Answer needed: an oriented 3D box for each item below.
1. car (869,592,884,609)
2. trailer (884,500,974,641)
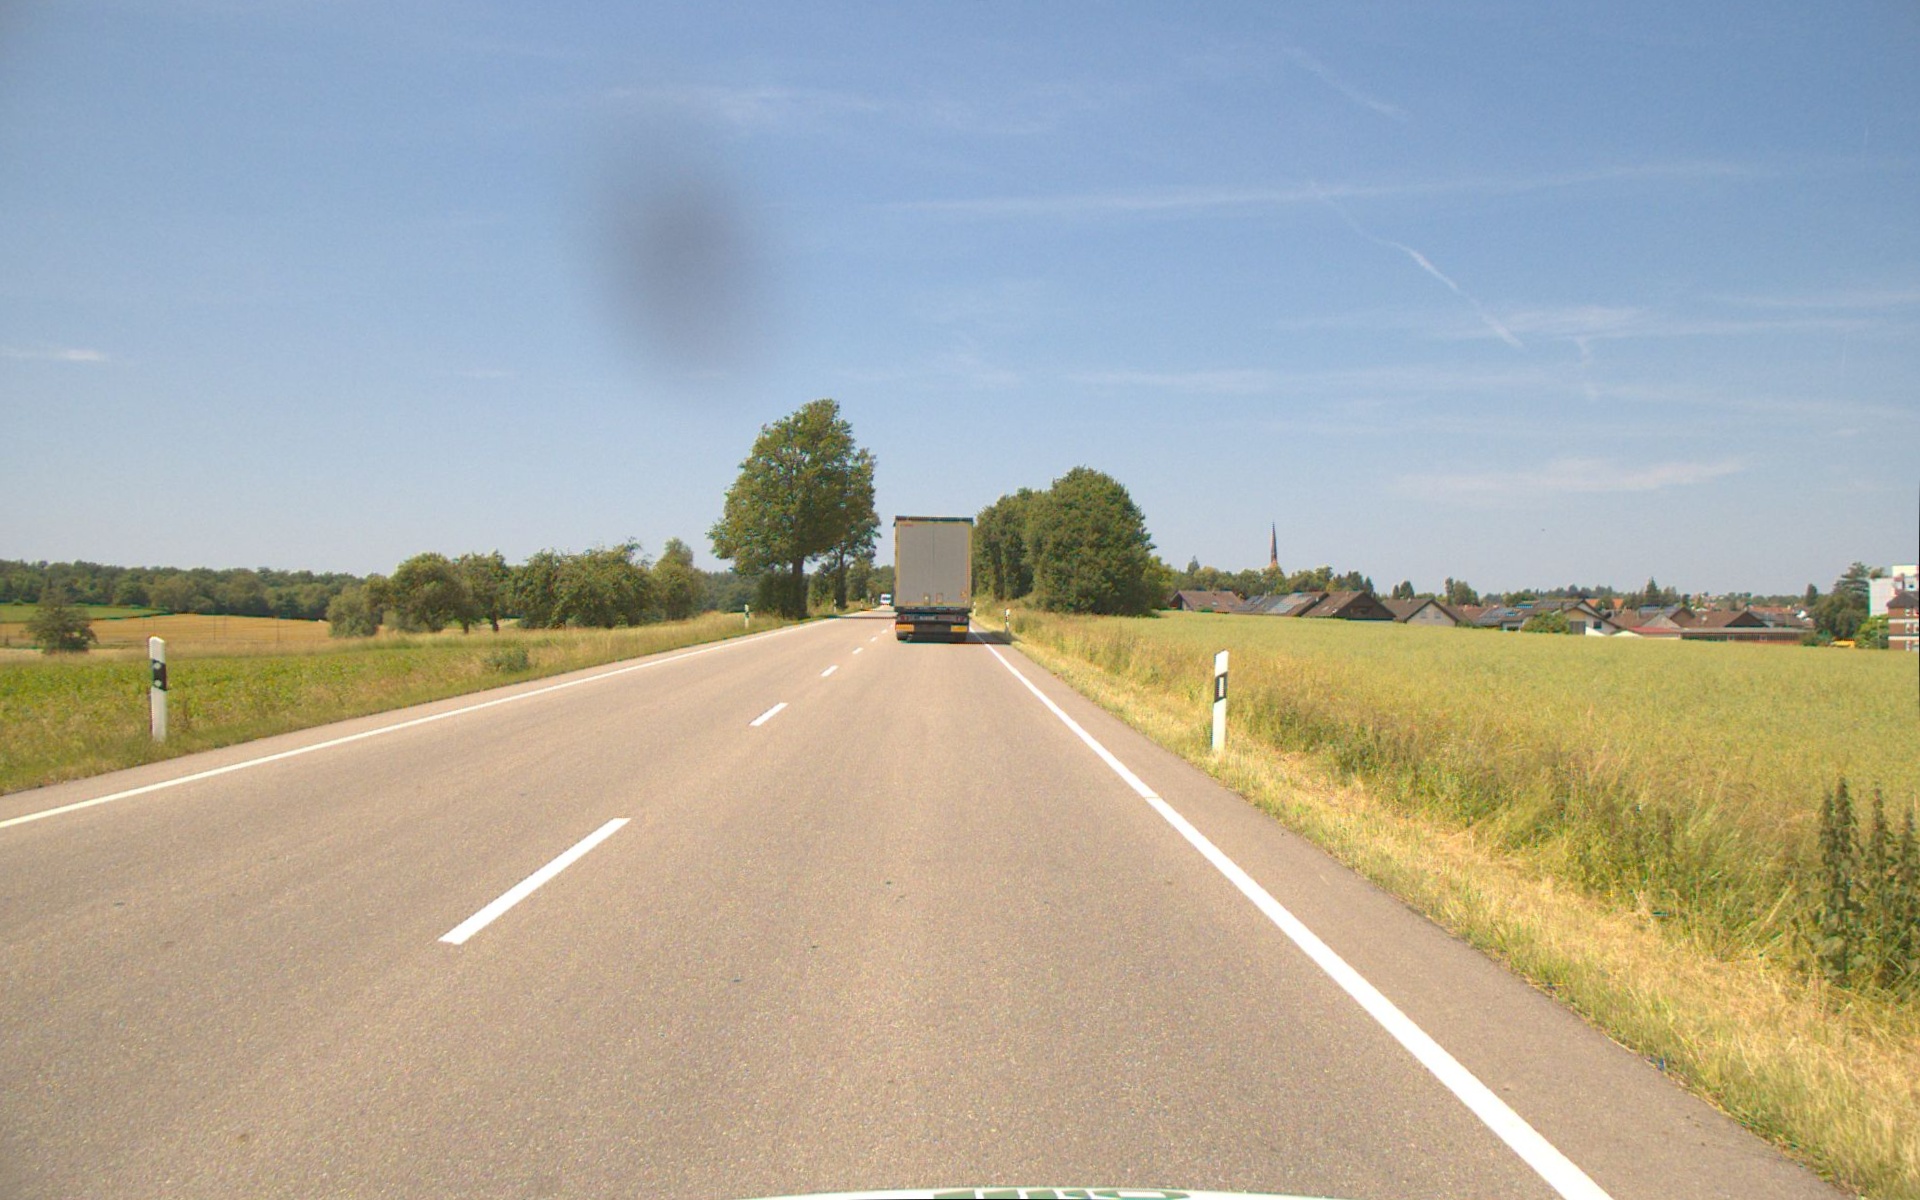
[{"bbox_3d":[-10.850,0.039,215.682,1.836,2.049,4.072,2,0,-2],"label":"car"},{"bbox_3d":[-1.152,-0.958,59.434,2.809,4.477,13.488,1,0,-1],"label":"trailer"}]
